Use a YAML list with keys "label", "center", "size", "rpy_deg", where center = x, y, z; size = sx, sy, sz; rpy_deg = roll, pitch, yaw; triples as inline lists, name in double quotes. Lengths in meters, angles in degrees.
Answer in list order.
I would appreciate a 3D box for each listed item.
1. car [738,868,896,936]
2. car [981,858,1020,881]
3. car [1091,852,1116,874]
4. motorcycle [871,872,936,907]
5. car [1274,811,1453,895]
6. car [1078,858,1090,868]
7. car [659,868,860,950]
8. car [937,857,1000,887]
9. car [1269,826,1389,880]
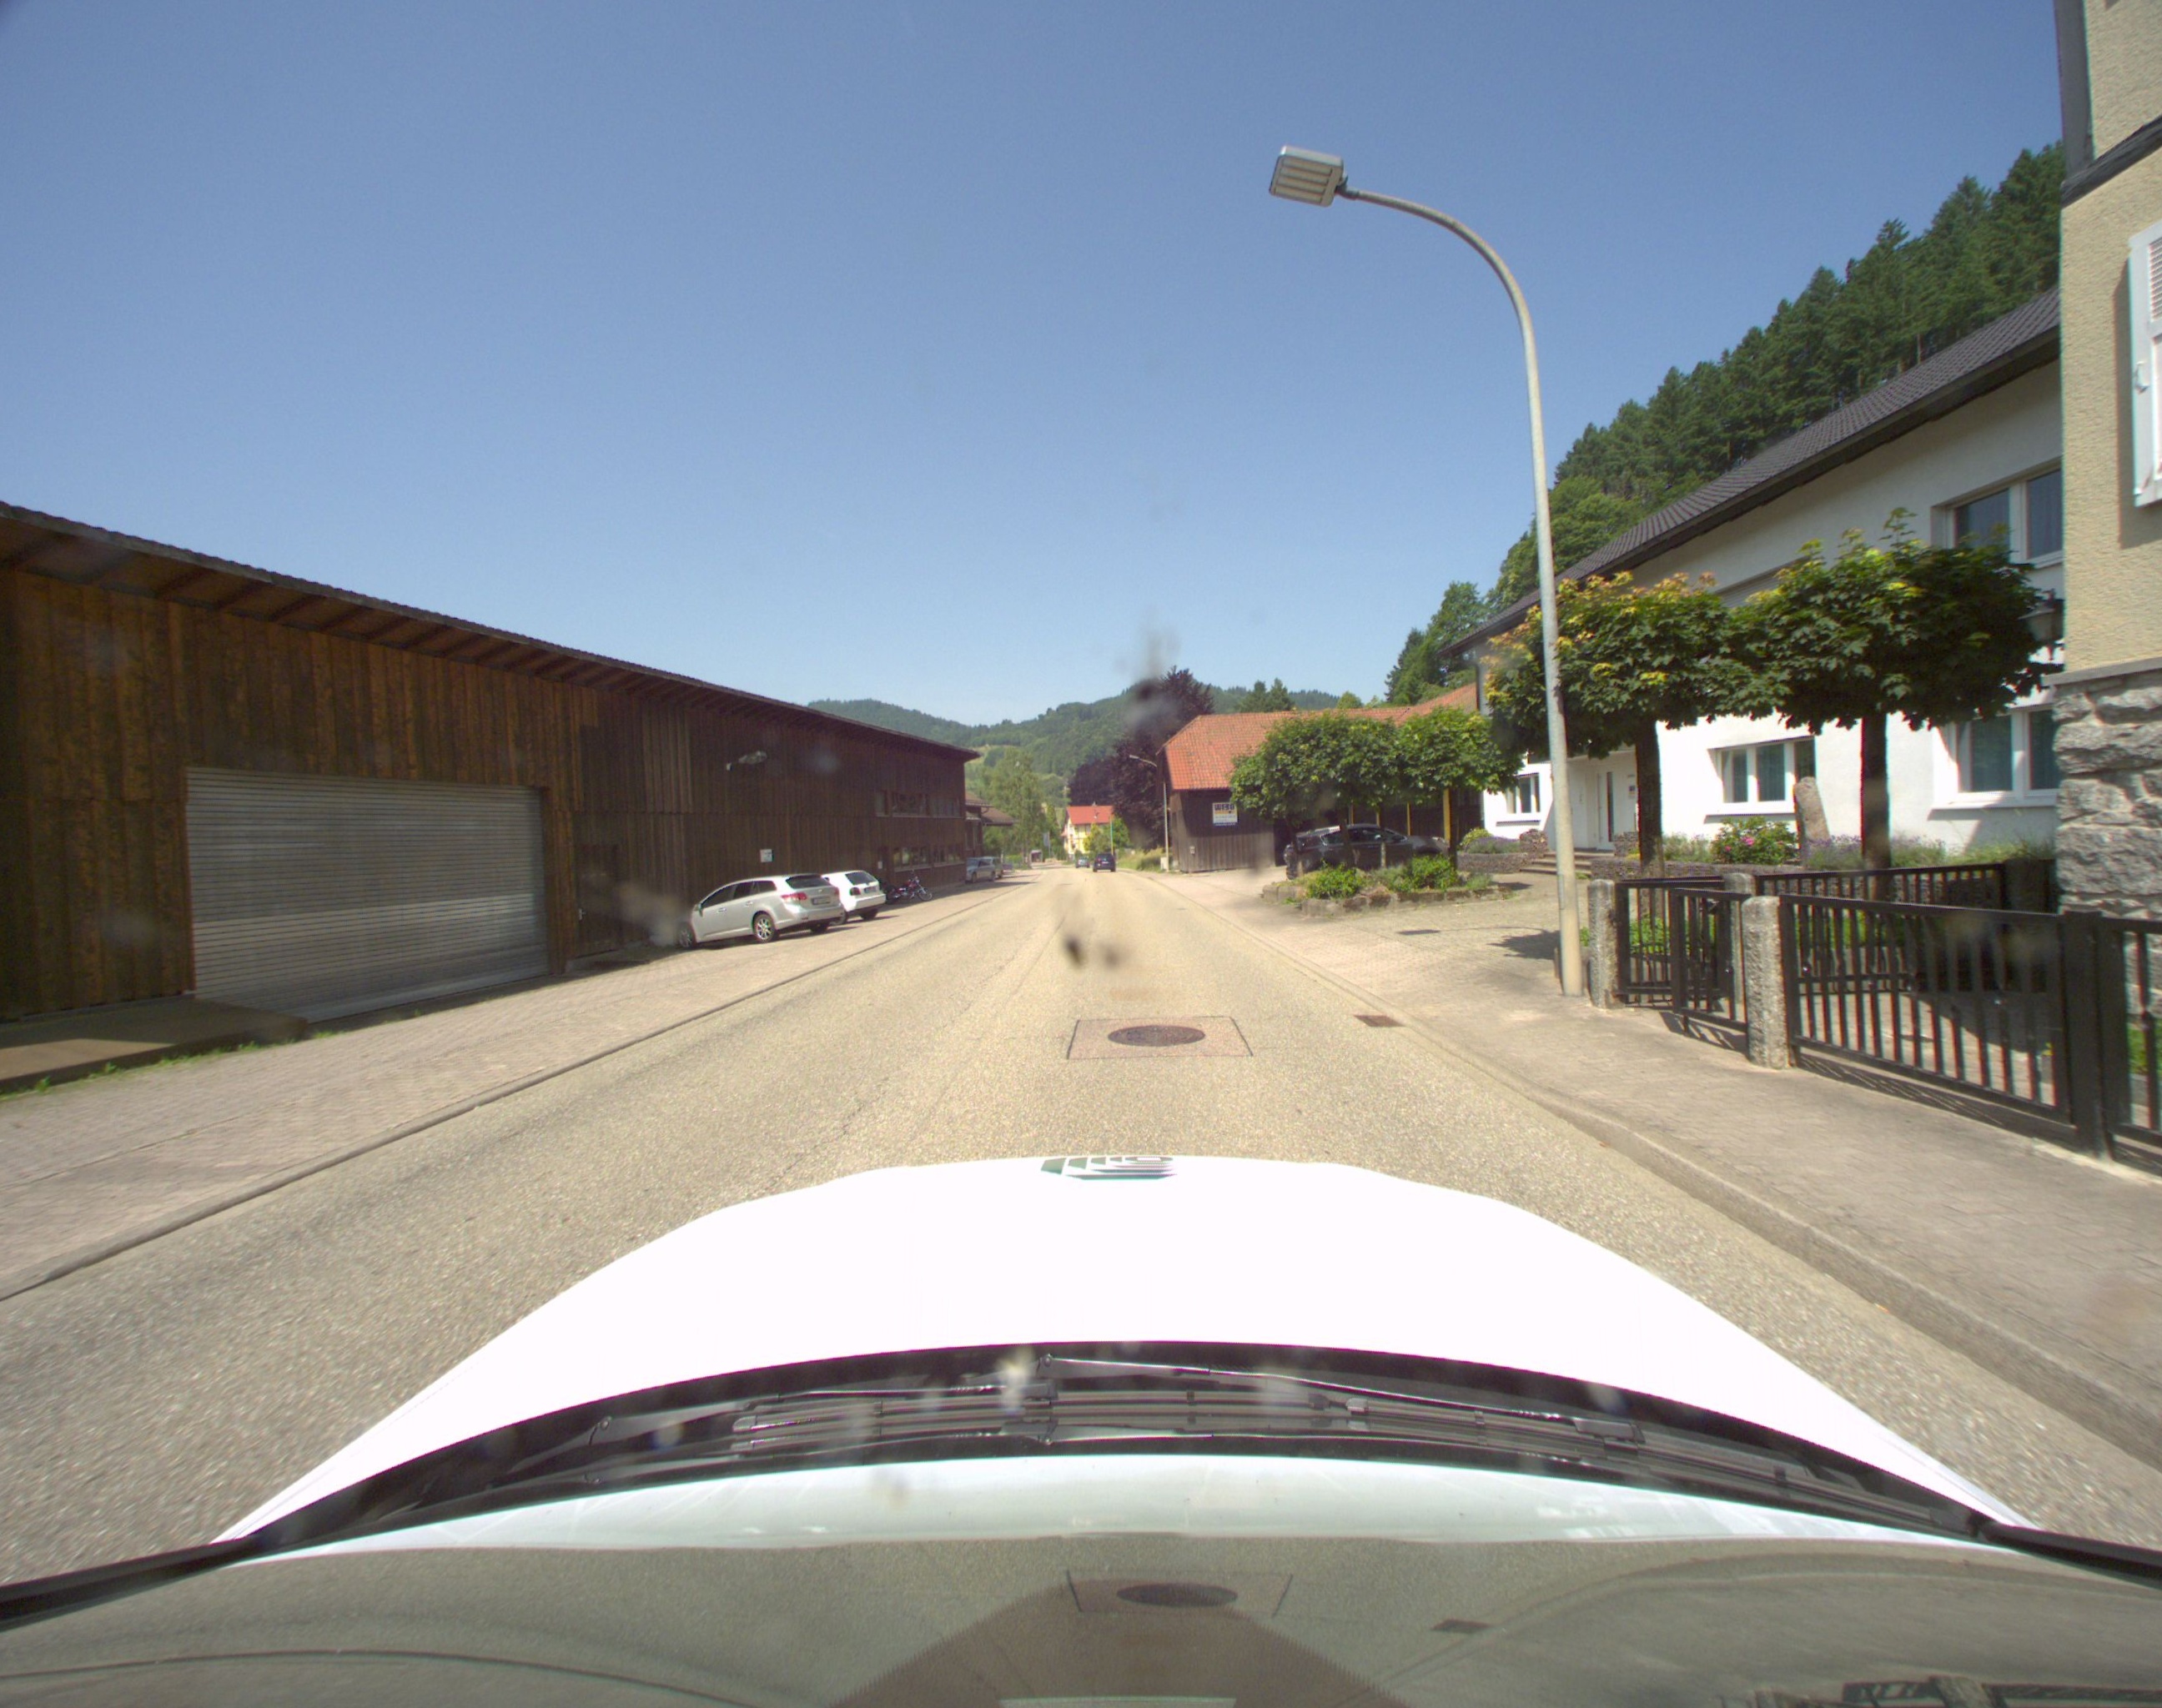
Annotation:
- label: "car"
  center: [-7.194, 1.303, 22.260]
  size: [3.631, 1.385, 1.718]
  rpy_deg: [-7, -1, 16]
- label: "car"
  center: [-5.809, 1.102, 59.370]
  size: [1.570, 1.570, 4.038]
  rpy_deg: [1, 1, 13]
- label: "car"
  center: [1.920, 0.747, 69.738]
  size: [1.913, 1.698, 3.787]
  rpy_deg: [-3, 0, 0]
- label: "motorcycle"
  center: [-7.160, 1.425, 32.854]
  size: [2.393, 1.264, 0.745]
  rpy_deg: [-3, 0, 11]
- label: "car"
  center: [7.638, -0.015, 22.376]
  size: [4.201, 1.687, 1.779]
  rpy_deg: [-7, -1, 5]
- label: "car"
  center: [0.414, 1.191, 109.121]
  size: [1.474, 1.209, 2.381]
  rpy_deg: [-4, 0, -3]
- label: "car"
  center: [-7.708, 1.325, 19.486]
  size: [4.388, 1.474, 1.936]
  rpy_deg: [-7, -1, 27]
- label: "car"
  center: [-6.356, 0.989, 46.605]
  size: [1.716, 1.454, 4.825]
  rpy_deg: [-2, 1, 15]
- label: "car"
  center: [9.864, -0.052, 32.626]
  size: [4.116, 1.832, 1.953]
  rpy_deg: [-4, 0, -2]
